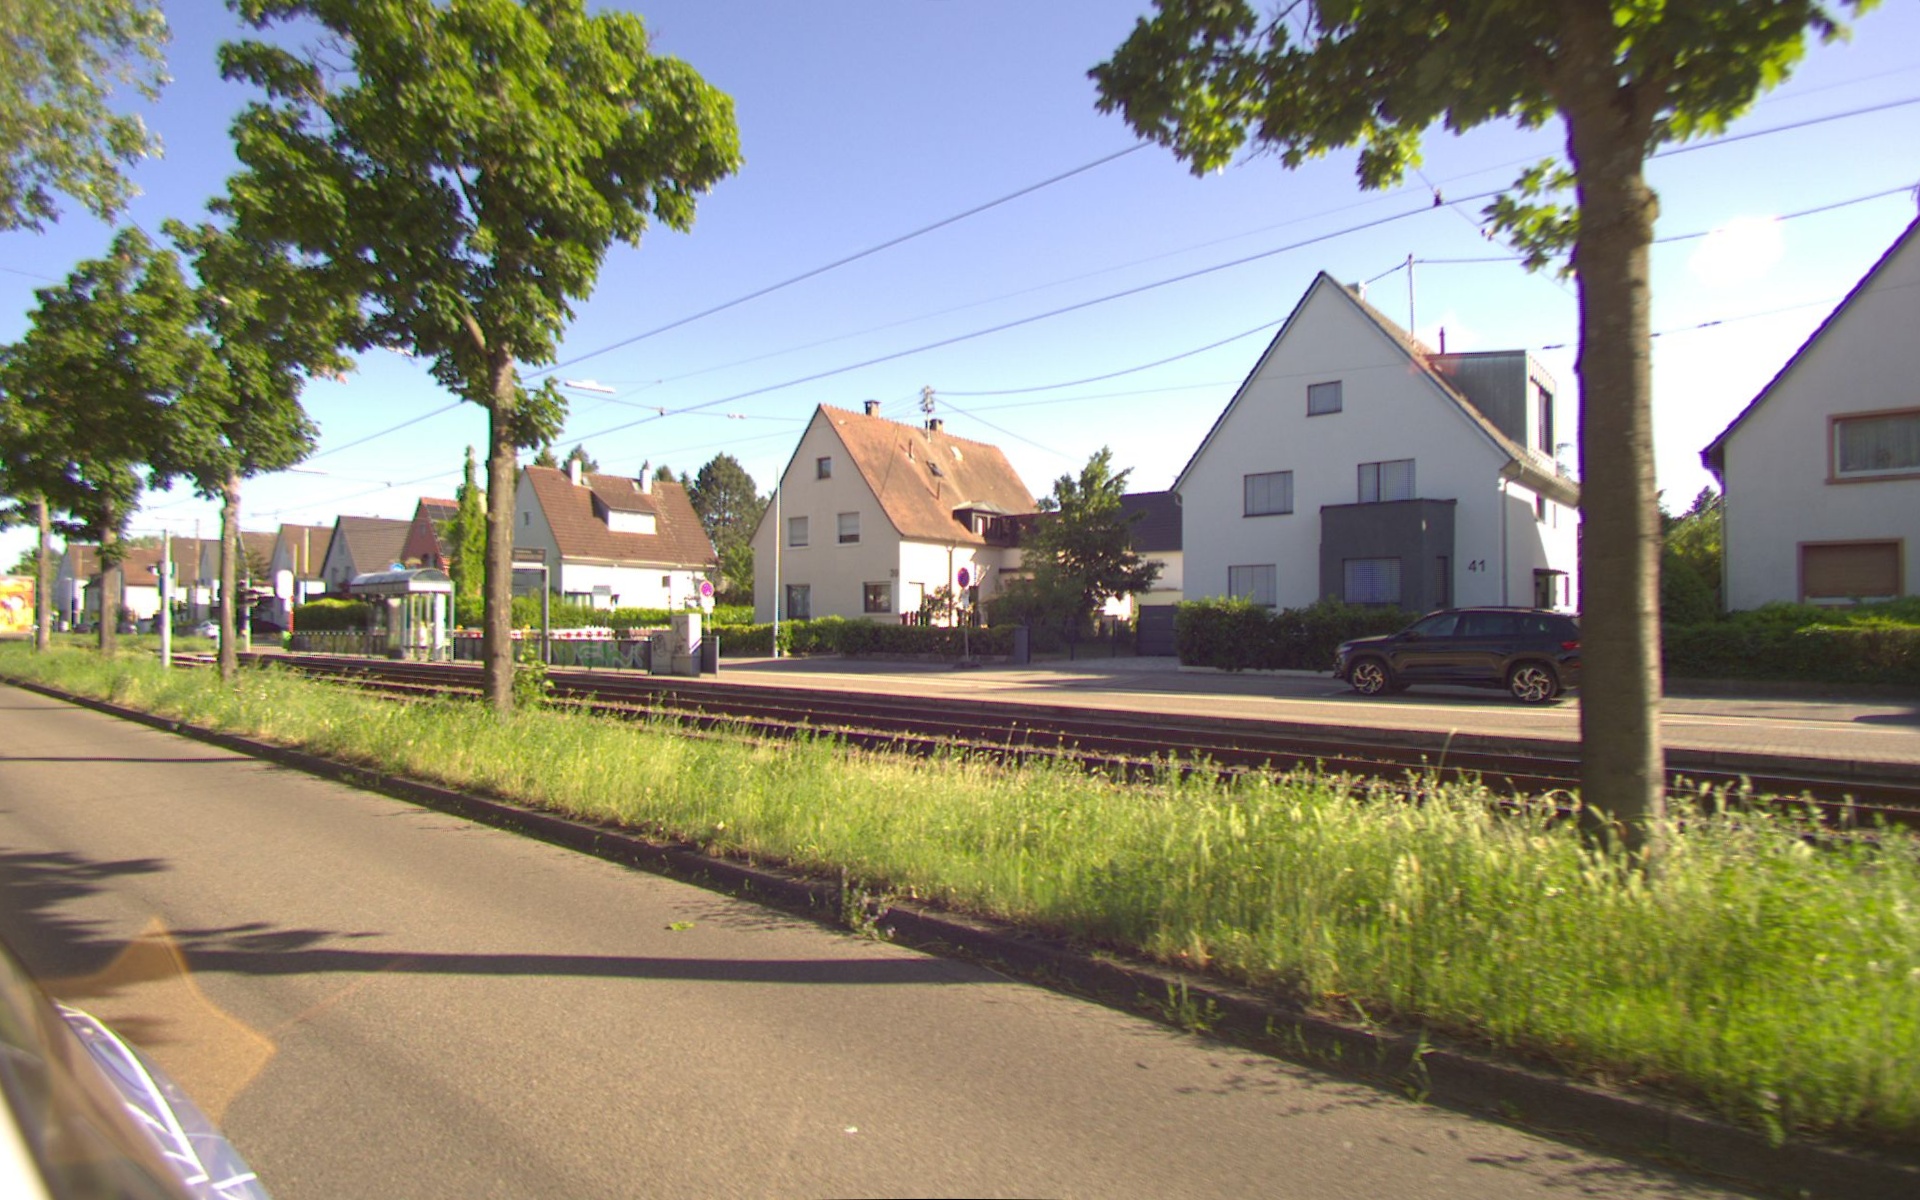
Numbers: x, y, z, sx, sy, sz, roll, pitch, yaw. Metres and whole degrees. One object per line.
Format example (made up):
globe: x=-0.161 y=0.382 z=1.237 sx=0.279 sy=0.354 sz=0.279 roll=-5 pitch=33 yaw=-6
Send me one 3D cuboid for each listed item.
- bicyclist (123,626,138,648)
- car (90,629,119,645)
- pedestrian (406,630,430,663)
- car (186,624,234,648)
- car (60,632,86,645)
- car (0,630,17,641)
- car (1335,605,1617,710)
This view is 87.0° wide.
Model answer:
bicyclist: x=-71.691 y=3.168 z=87.440 sx=1.071 sy=1.901 sz=0.843 roll=-1 pitch=-1 yaw=41
car: x=-87.183 y=3.730 z=103.120 sx=3.754 sy=1.501 sz=1.716 roll=-1 pitch=0 yaw=41
pedestrian: x=-26.273 y=2.260 z=49.069 sx=0.793 sy=1.546 sz=0.803 roll=-4 pitch=-3 yaw=40
car: x=-57.552 y=2.750 z=77.616 sx=4.837 sy=1.691 sz=1.973 roll=-1 pitch=0 yaw=41
car: x=-100.028 y=4.348 z=114.099 sx=3.821 sy=1.392 sz=1.733 roll=-1 pitch=0 yaw=41
car: x=-139.151 y=5.145 z=147.840 sx=4.001 sy=1.517 sz=1.767 roll=-1 pitch=0 yaw=44
car: x=9.630 y=0.997 z=19.078 sx=4.388 sy=1.726 sz=1.973 roll=-1 pitch=0 yaw=41
